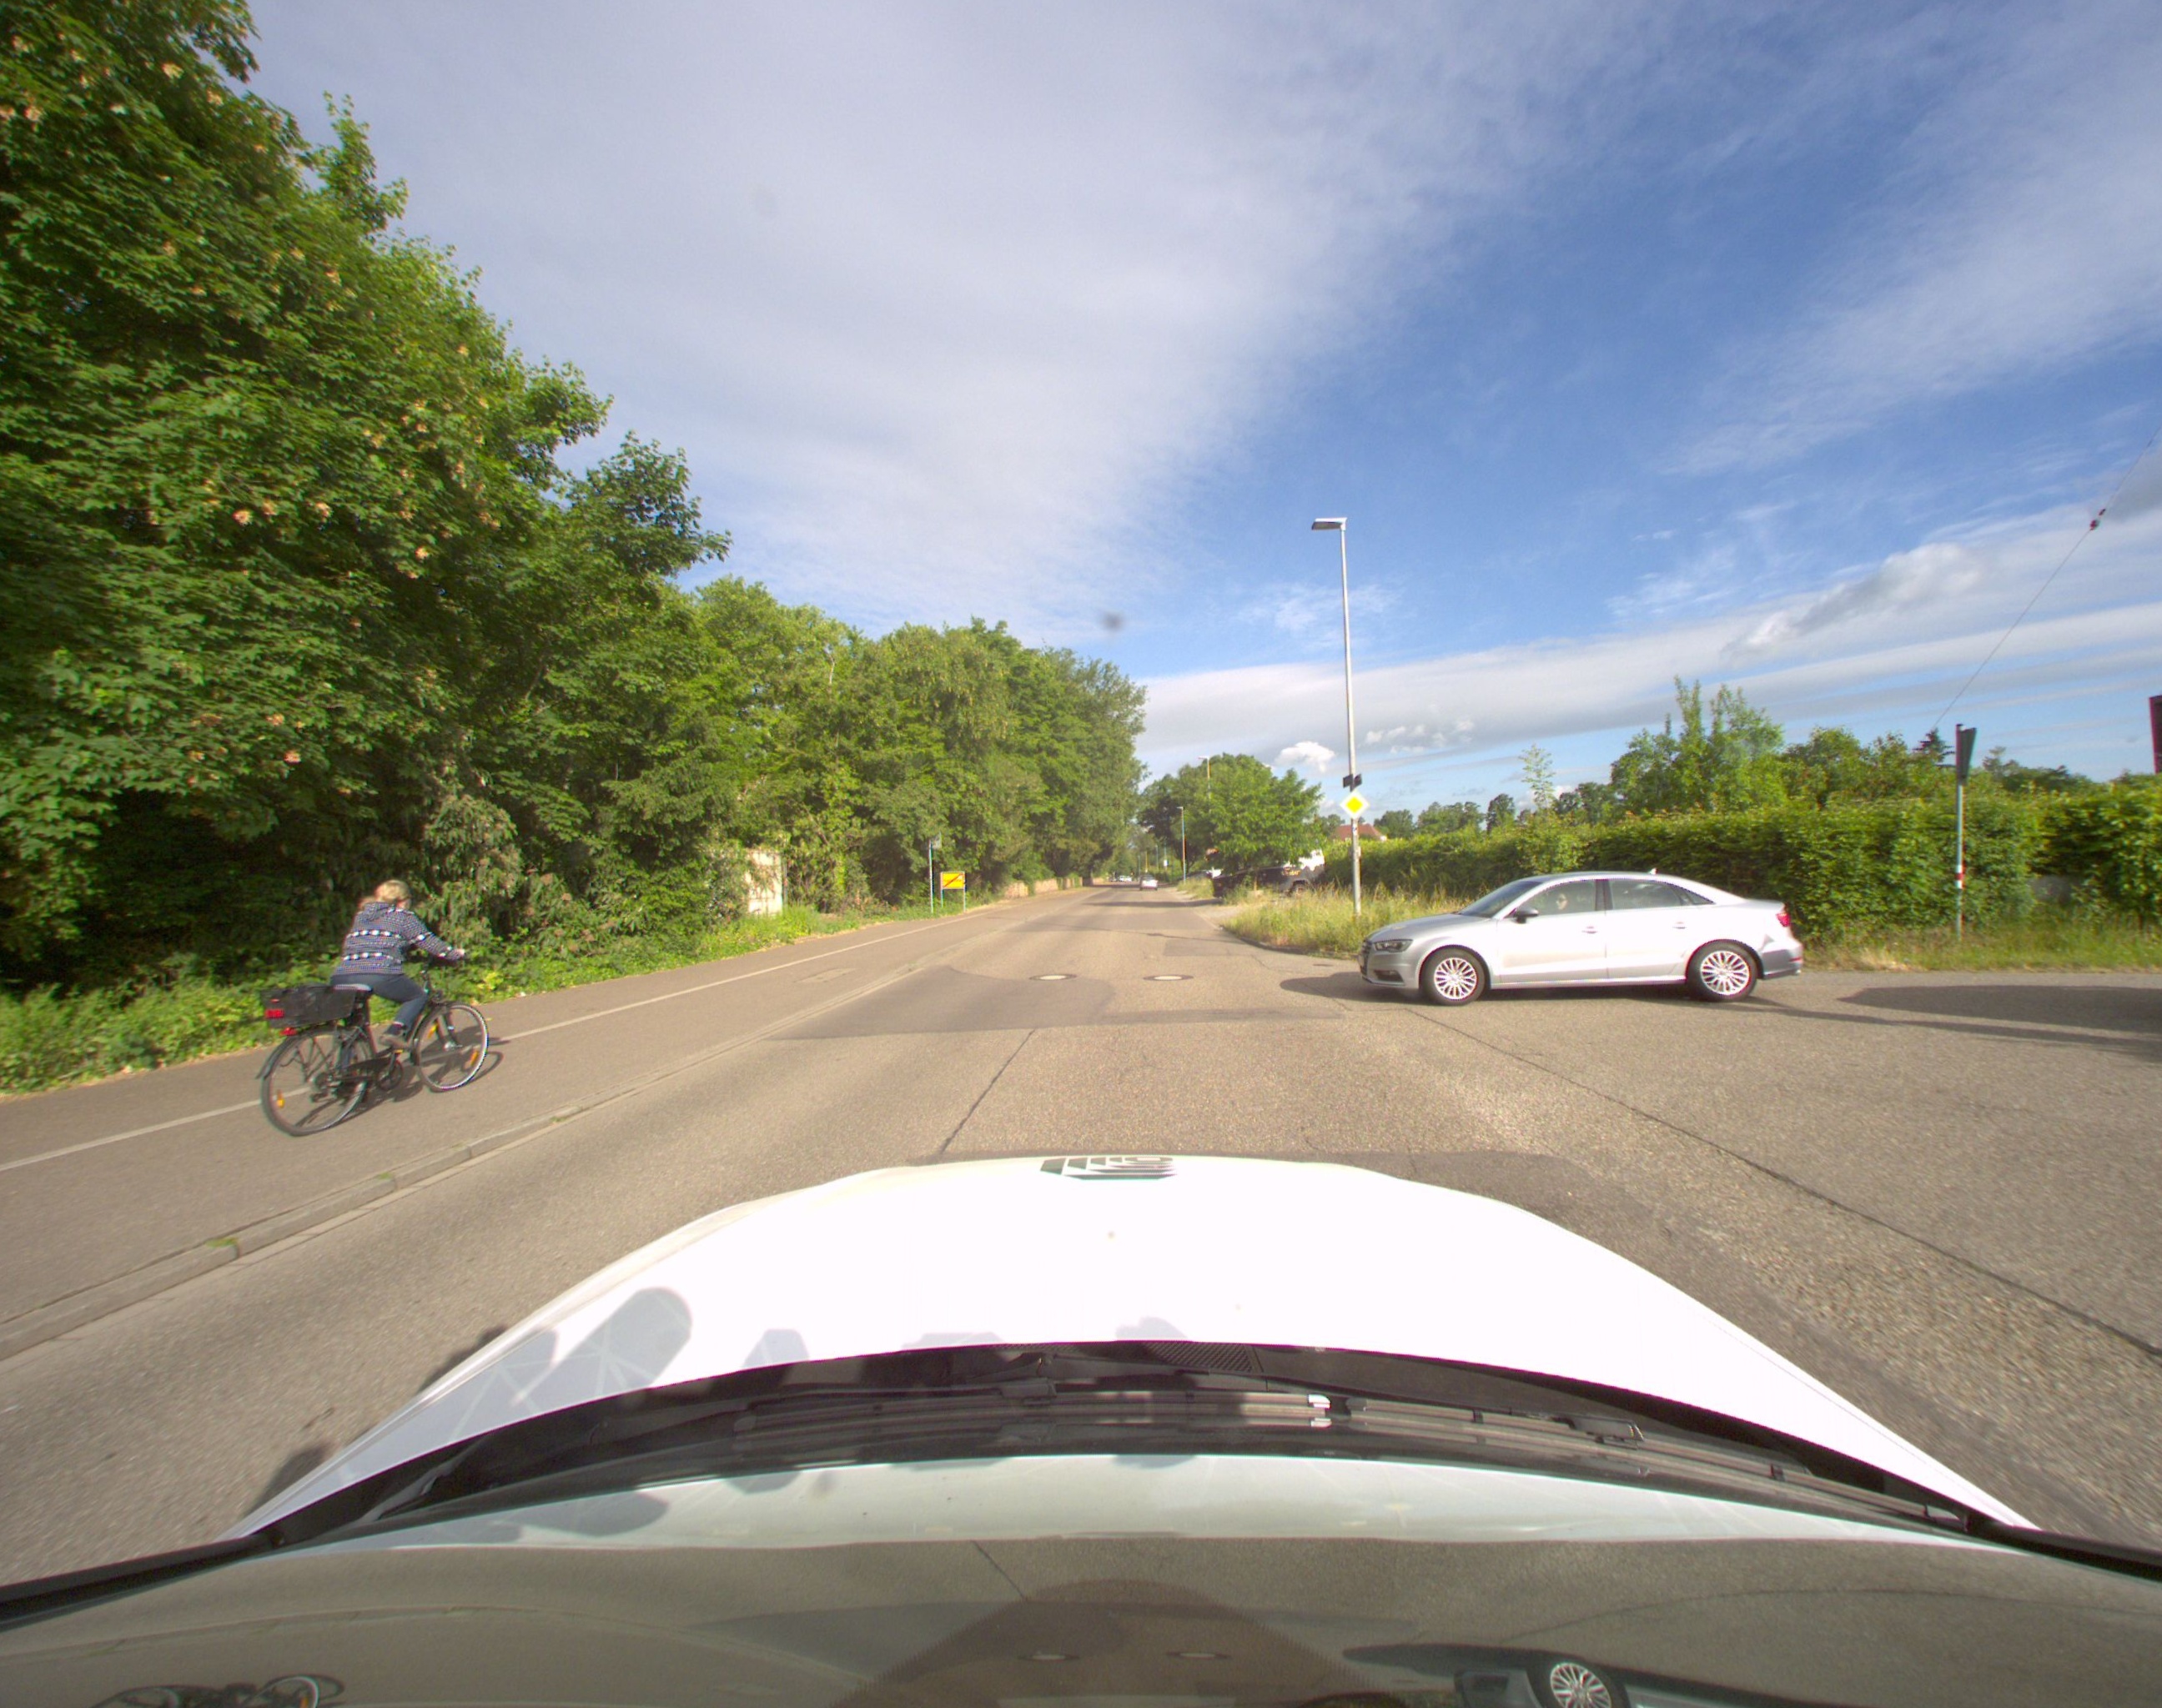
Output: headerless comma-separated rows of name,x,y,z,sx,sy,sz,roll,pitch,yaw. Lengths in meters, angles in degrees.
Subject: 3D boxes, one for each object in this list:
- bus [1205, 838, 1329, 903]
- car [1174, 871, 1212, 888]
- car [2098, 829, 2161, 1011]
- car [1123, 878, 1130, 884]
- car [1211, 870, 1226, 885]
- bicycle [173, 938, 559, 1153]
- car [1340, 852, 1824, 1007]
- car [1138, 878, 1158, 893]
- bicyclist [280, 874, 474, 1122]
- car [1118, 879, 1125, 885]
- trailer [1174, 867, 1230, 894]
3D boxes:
bus,8.834,0.783,39.051,5.346,2.747,2.069,-3,-1,1
car,13.783,3.149,100.583,4.383,1.647,2.002,-5,-2,4
car,10.597,0.483,5.710,4.304,1.434,1.974,-1,-1,3
car,11.607,6.937,208.197,1.879,1.372,4.056,-2,-2,2
car,16.654,2.812,98.539,1.341,1.632,4.127,-5,-2,14
bicycle,-5.107,1.284,6.130,0.659,1.097,2.351,0,-1,5
car,5.421,0.846,9.468,4.334,1.443,1.938,-3,-2,10
car,6.521,3.090,79.628,1.878,1.372,4.057,-2,-2,3
bicyclist,-5.119,0.987,5.981,0.606,1.677,0.885,-1,-1,4
car,11.934,8.118,238.722,1.878,1.613,4.057,-2,-2,3
trailer,9.271,2.034,62.531,4.128,1.835,1.920,-3,-2,8
